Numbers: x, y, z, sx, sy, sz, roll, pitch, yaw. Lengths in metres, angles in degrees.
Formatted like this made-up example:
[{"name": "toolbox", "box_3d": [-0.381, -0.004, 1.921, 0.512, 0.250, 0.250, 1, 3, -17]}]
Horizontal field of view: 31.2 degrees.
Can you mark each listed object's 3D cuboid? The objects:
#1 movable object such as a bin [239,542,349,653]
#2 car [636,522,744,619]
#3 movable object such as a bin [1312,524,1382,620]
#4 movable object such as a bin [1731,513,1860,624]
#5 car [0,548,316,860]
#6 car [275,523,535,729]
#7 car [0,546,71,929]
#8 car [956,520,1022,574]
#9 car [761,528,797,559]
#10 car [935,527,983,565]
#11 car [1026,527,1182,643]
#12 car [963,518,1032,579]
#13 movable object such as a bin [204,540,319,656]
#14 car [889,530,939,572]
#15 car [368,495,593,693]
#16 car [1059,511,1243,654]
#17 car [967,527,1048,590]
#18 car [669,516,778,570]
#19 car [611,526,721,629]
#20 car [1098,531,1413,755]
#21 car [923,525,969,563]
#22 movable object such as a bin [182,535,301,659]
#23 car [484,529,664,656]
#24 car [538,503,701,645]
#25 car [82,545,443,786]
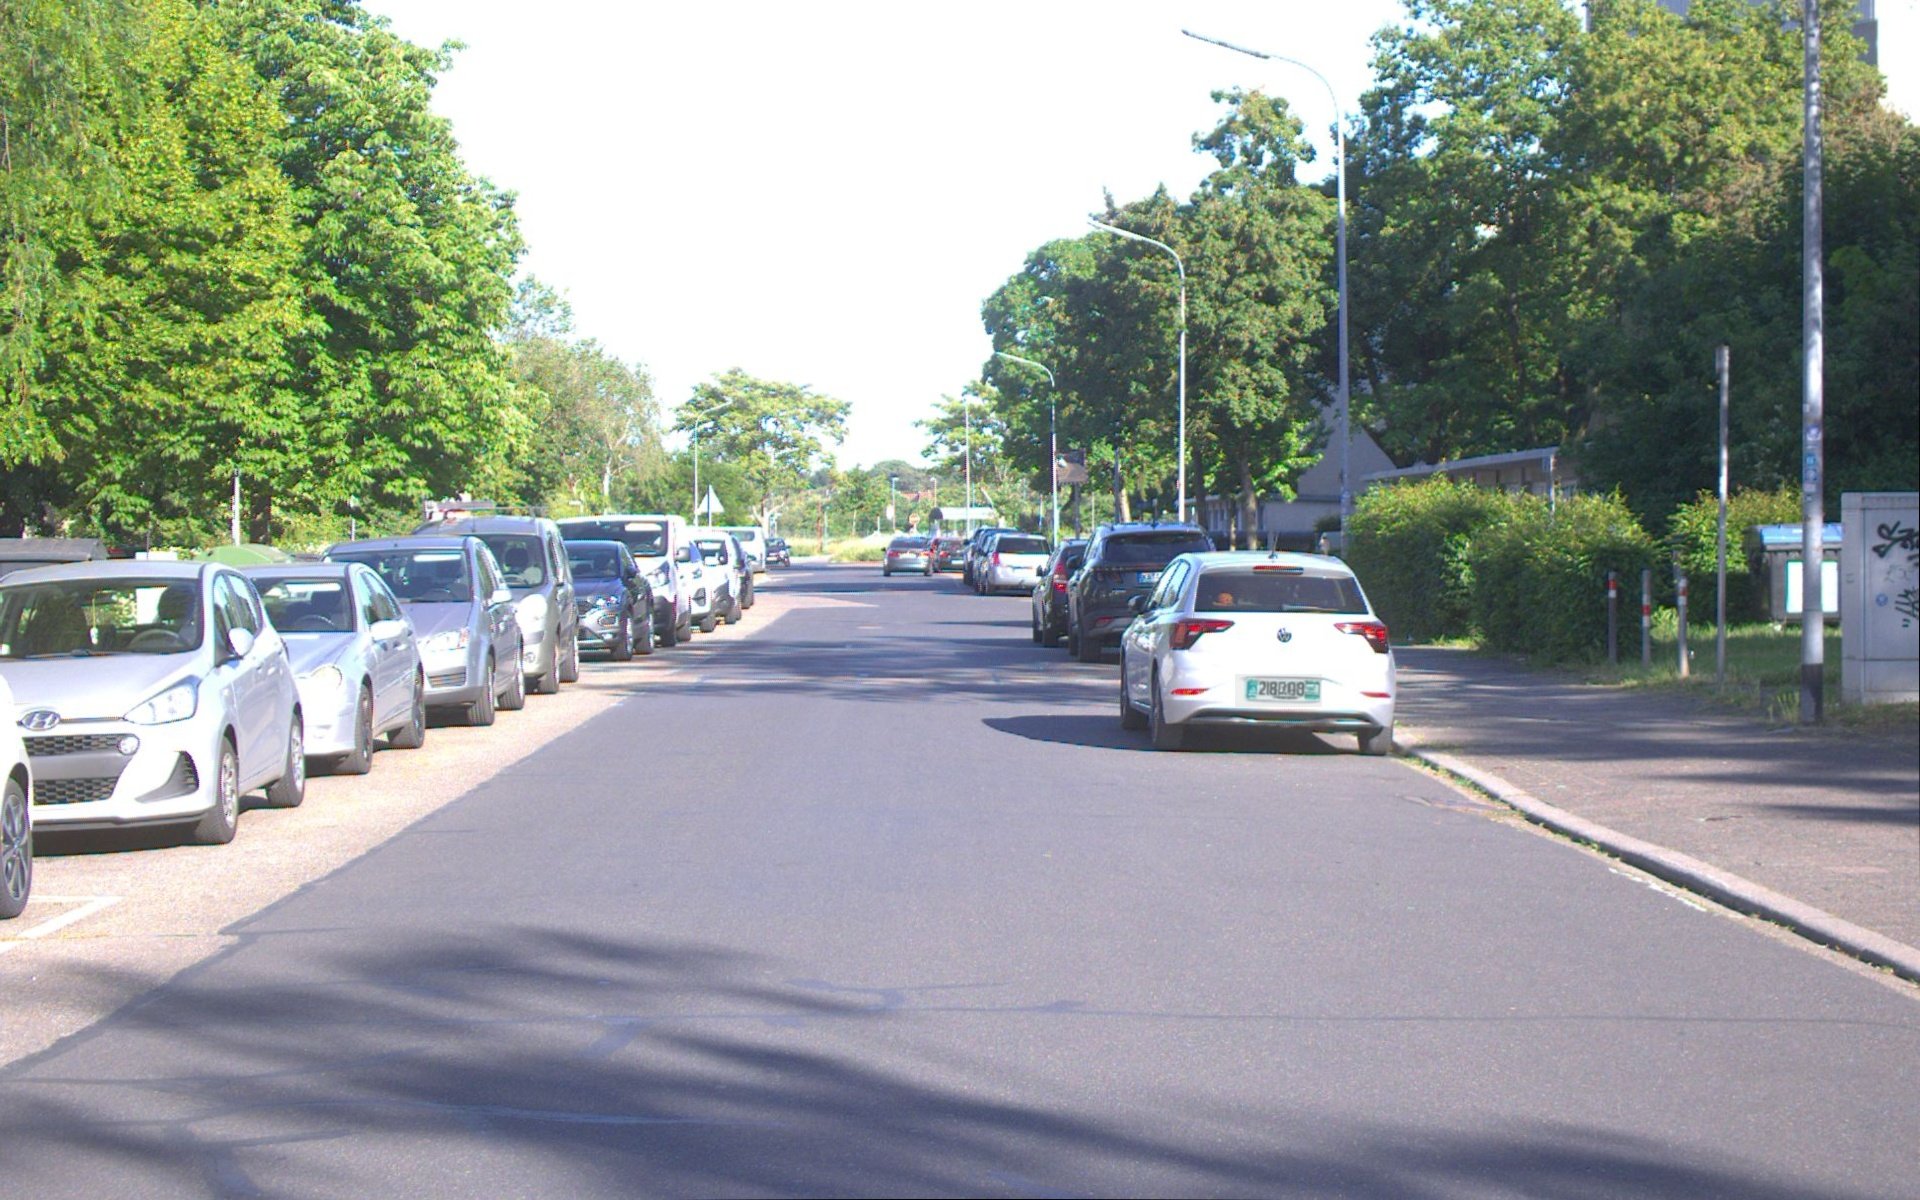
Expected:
[{"name": "movable object such as a bin", "box_3d": [-8.512, -0.045, 43.991, 1.101, 1.352, 1.361, 2, 1, 0]}, {"name": "car", "box_3d": [-5.083, -0.583, 65.031, 1.746, 1.726, 4.006, -1, 1, -1]}, {"name": "movable object such as a bin", "box_3d": [5.957, -0.442, 52.951, 0.917, 1.449, 1.233, 0, 1, -1]}, {"name": "movable object such as a bin", "box_3d": [10.391, -0.401, 42.799, 1.254, 1.348, 1.279, 0, 1, -1]}, {"name": "car", "box_3d": [-4.670, 0.489, 18.865, 1.686, 1.500, 3.818, -1, 1, -2]}, {"name": "car", "box_3d": [-4.740, 0.171, 29.835, 1.709, 1.595, 3.986, -3, 1, -2]}, {"name": "car", "box_3d": [-4.685, 0.588, 13.014, 1.686, 1.529, 3.891, -1, 1, -1]}, {"name": "car", "box_3d": [0.896, -1.673, 108.235, 1.795, 1.638, 3.952, 1, 1, -3]}, {"name": "car", "box_3d": [-9.297, -2.918, 176.387, 1.795, 1.556, 3.952, 1, 1, -3]}, {"name": "car", "box_3d": [-0.053, -2.258, 143.307, 1.795, 1.543, 3.952, 1, 1, -3]}, {"name": "car", "box_3d": [1.957, -0.239, 47.862, 1.908, 1.525, 4.328, 1, 1, -1]}, {"name": "car", "box_3d": [1.123, -1.571, 104.009, 1.795, 1.780, 3.952, 1, 1, -3]}, {"name": "movable object such as a bin", "box_3d": [-8.639, -0.034, 42.585, 1.101, 1.366, 1.361, 2, 1, 0]}, {"name": "car", "box_3d": [-1.750, -1.843, 129.042, 1.679, 1.508, 4.105, 1, 1, -3]}, {"name": "car", "box_3d": [-4.909, -0.100, 35.709, 1.854, 1.886, 4.419, -1, 1, -2]}, {"name": "car", "box_3d": [2.266, -0.246, 41.996, 1.908, 1.634, 4.629, 1, 1, -1]}, {"name": "car", "box_3d": [1.185, -1.079, 88.058, 1.795, 1.556, 3.952, 1, 1, -3]}, {"name": "car", "box_3d": [-8.966, -2.153, 130.051, 4.053, 1.985, 1.802, 1, 1, -5]}, {"name": "car", "box_3d": [-5.030, -0.420, 59.190, 1.746, 1.664, 4.379, -1, 1, -4]}, {"name": "car", "box_3d": [2.129, 0.259, 25.842, 1.753, 1.508, 4.105, 1, 1, -3]}, {"name": "car", "box_3d": [-0.644, -2.474, 150.755, 1.795, 1.638, 3.952, 1, 1, -3]}, {"name": "movable object such as a bin", "box_3d": [-8.579, -0.047, 41.088, 1.101, 1.416, 1.361, 2, 1, 0]}, {"name": "car", "box_3d": [-4.962, -0.131, 44.694, 1.746, 1.528, 4.139, -1, 1, 1]}, {"name": "car", "box_3d": [-5.006, -0.416, 51.127, 1.915, 1.956, 5.088, -1, 1, -1]}, {"name": "car", "box_3d": [-4.836, 0.384, 24.414, 1.686, 1.460, 4.526, -2, 1, -1]}]
